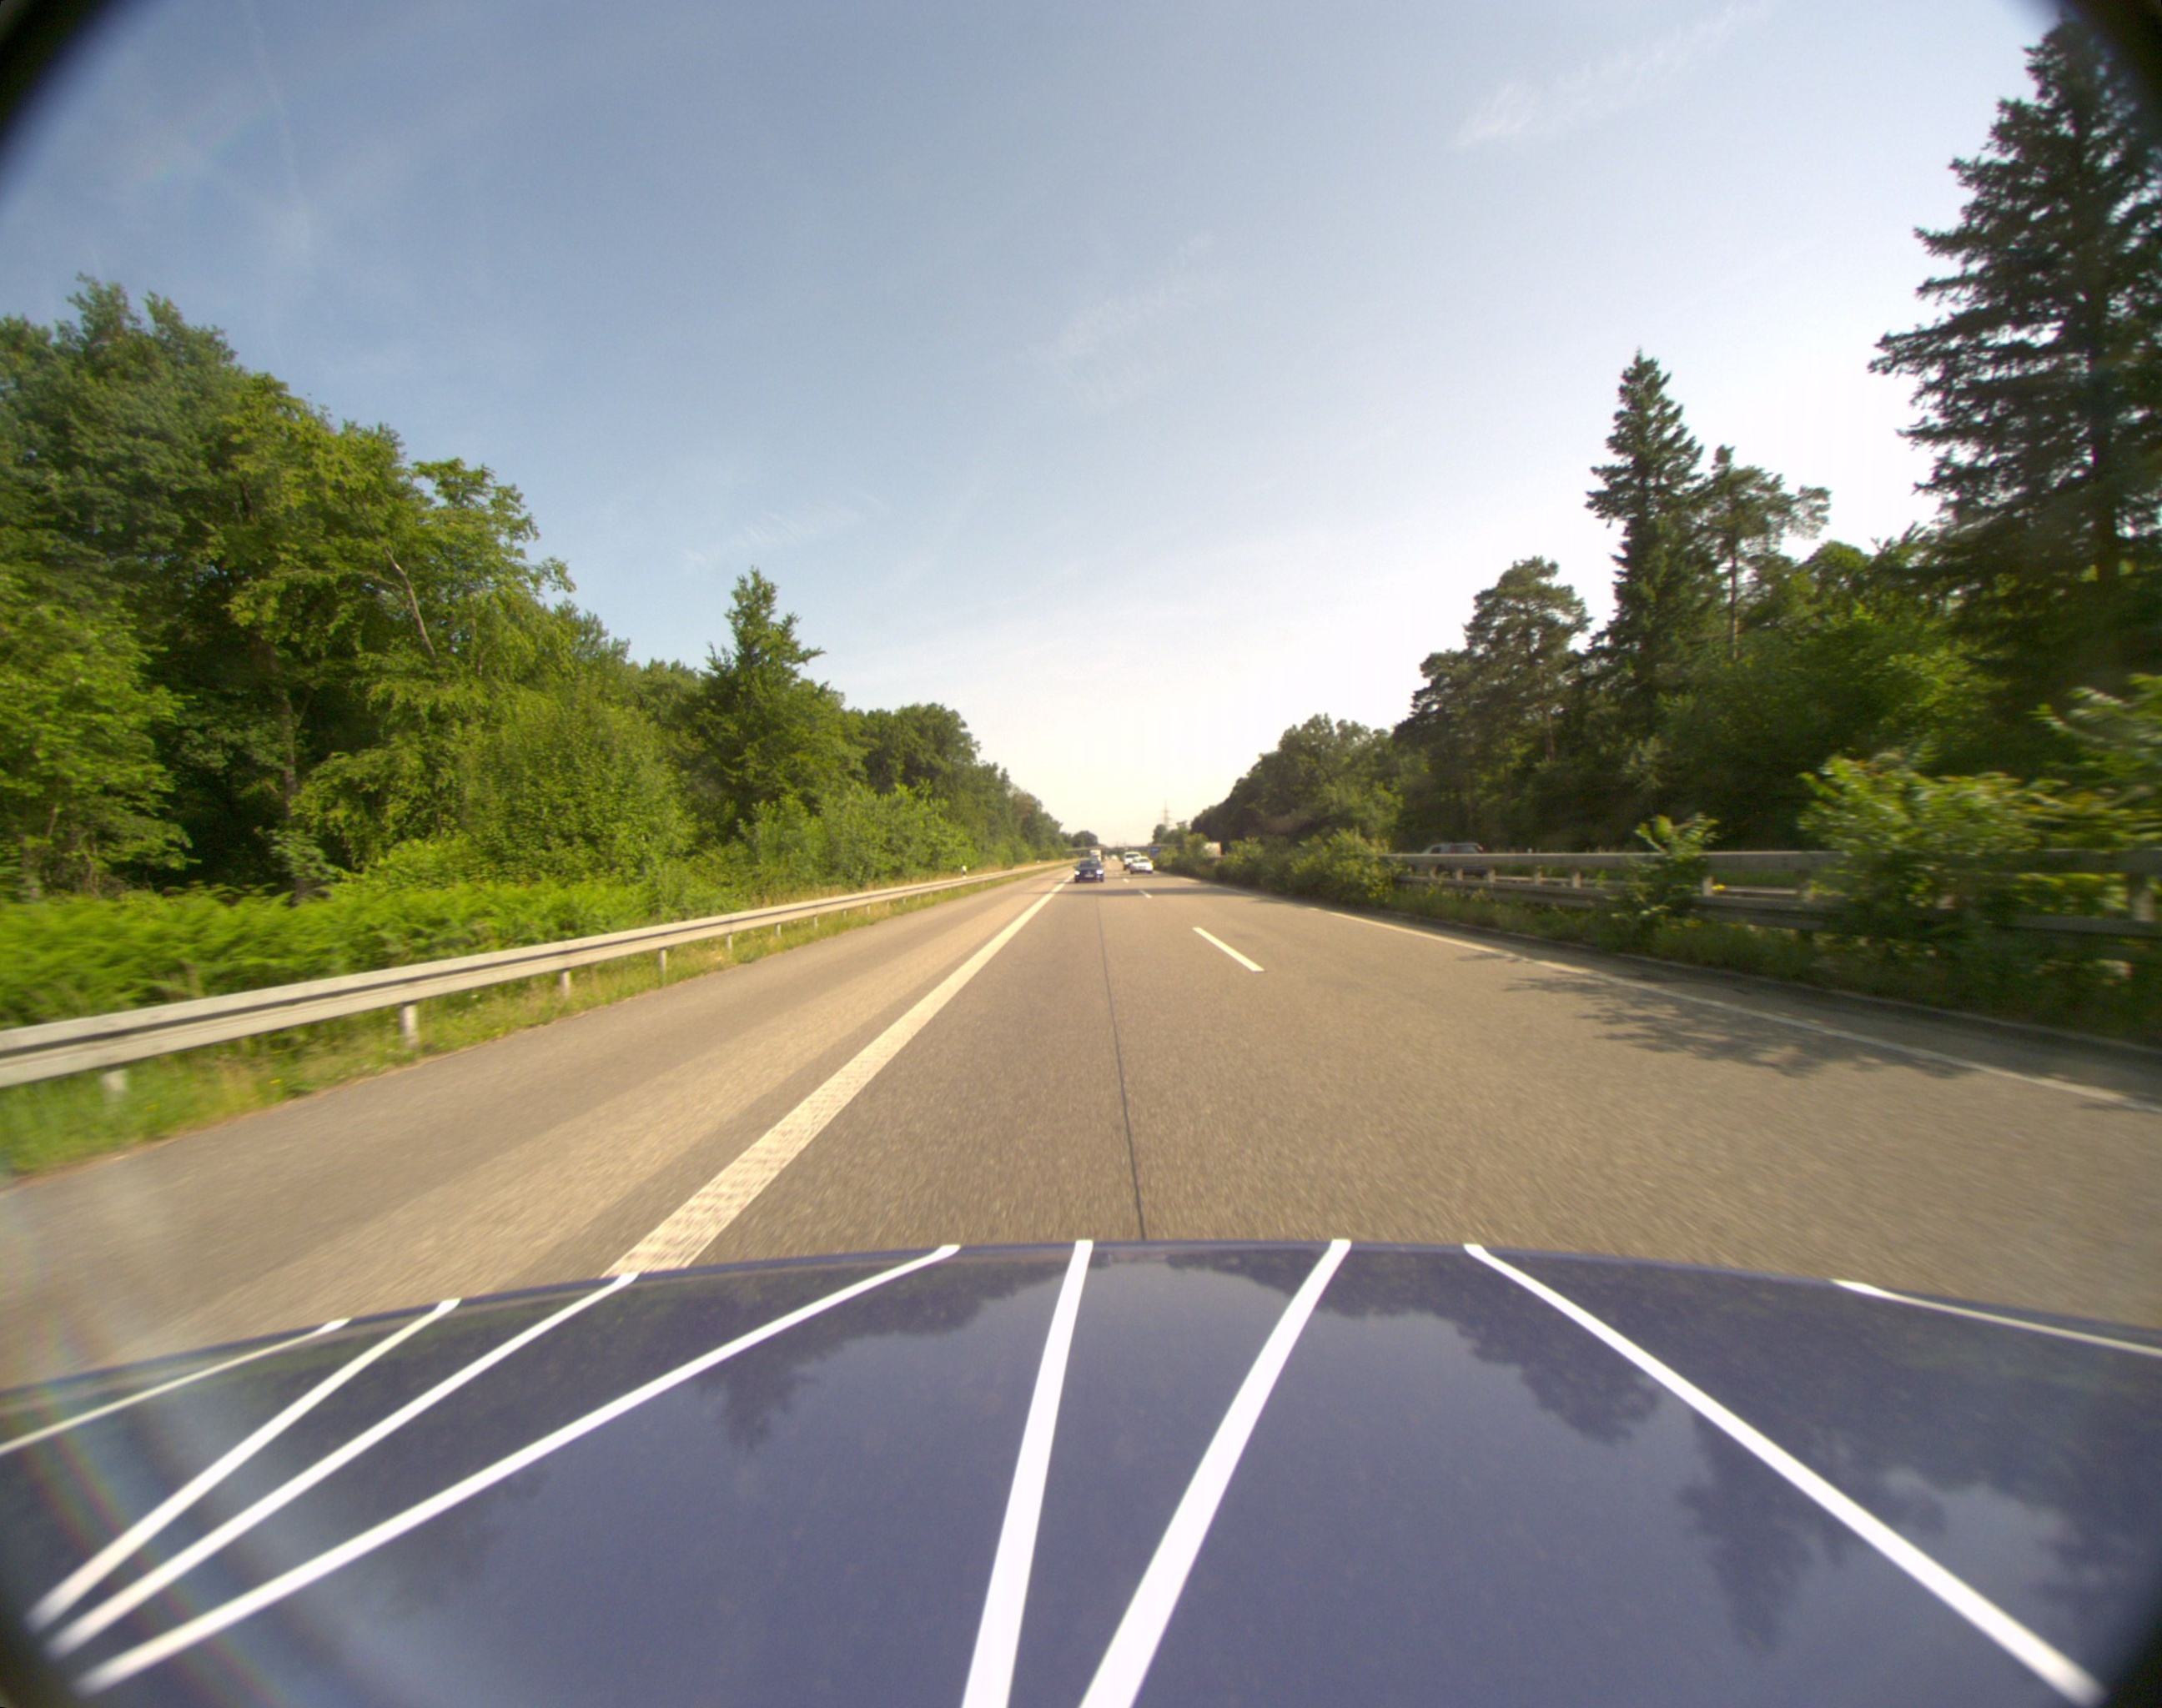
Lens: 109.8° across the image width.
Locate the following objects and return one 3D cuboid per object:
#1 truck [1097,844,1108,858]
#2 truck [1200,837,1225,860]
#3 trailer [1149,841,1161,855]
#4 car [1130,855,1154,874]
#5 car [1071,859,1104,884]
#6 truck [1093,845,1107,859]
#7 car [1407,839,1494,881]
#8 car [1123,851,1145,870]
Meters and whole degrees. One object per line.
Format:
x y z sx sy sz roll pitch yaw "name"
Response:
6.376 -0.828 226.429 2.695 4.061 12.363 -2 0 -1 "truck"
18.670 -0.718 108.008 2.468 3.158 7.228 0 0 1 "truck"
21.800 -1.659 224.477 2.899 3.984 13.324 0 0 2 "trailer"
5.155 0.856 64.962 1.754 1.477 5.264 -2 0 2 "car"
0.367 0.978 44.354 1.789 1.285 3.538 -2 0 1 "car"
4.247 -0.404 173.437 2.695 3.020 10.371 -2 0 0 "truck"
16.247 0.213 33.673 1.820 1.673 4.300 -2 1 1 "car"
5.794 0.691 83.024 1.912 1.934 4.705 -2 0 -2 "car"
